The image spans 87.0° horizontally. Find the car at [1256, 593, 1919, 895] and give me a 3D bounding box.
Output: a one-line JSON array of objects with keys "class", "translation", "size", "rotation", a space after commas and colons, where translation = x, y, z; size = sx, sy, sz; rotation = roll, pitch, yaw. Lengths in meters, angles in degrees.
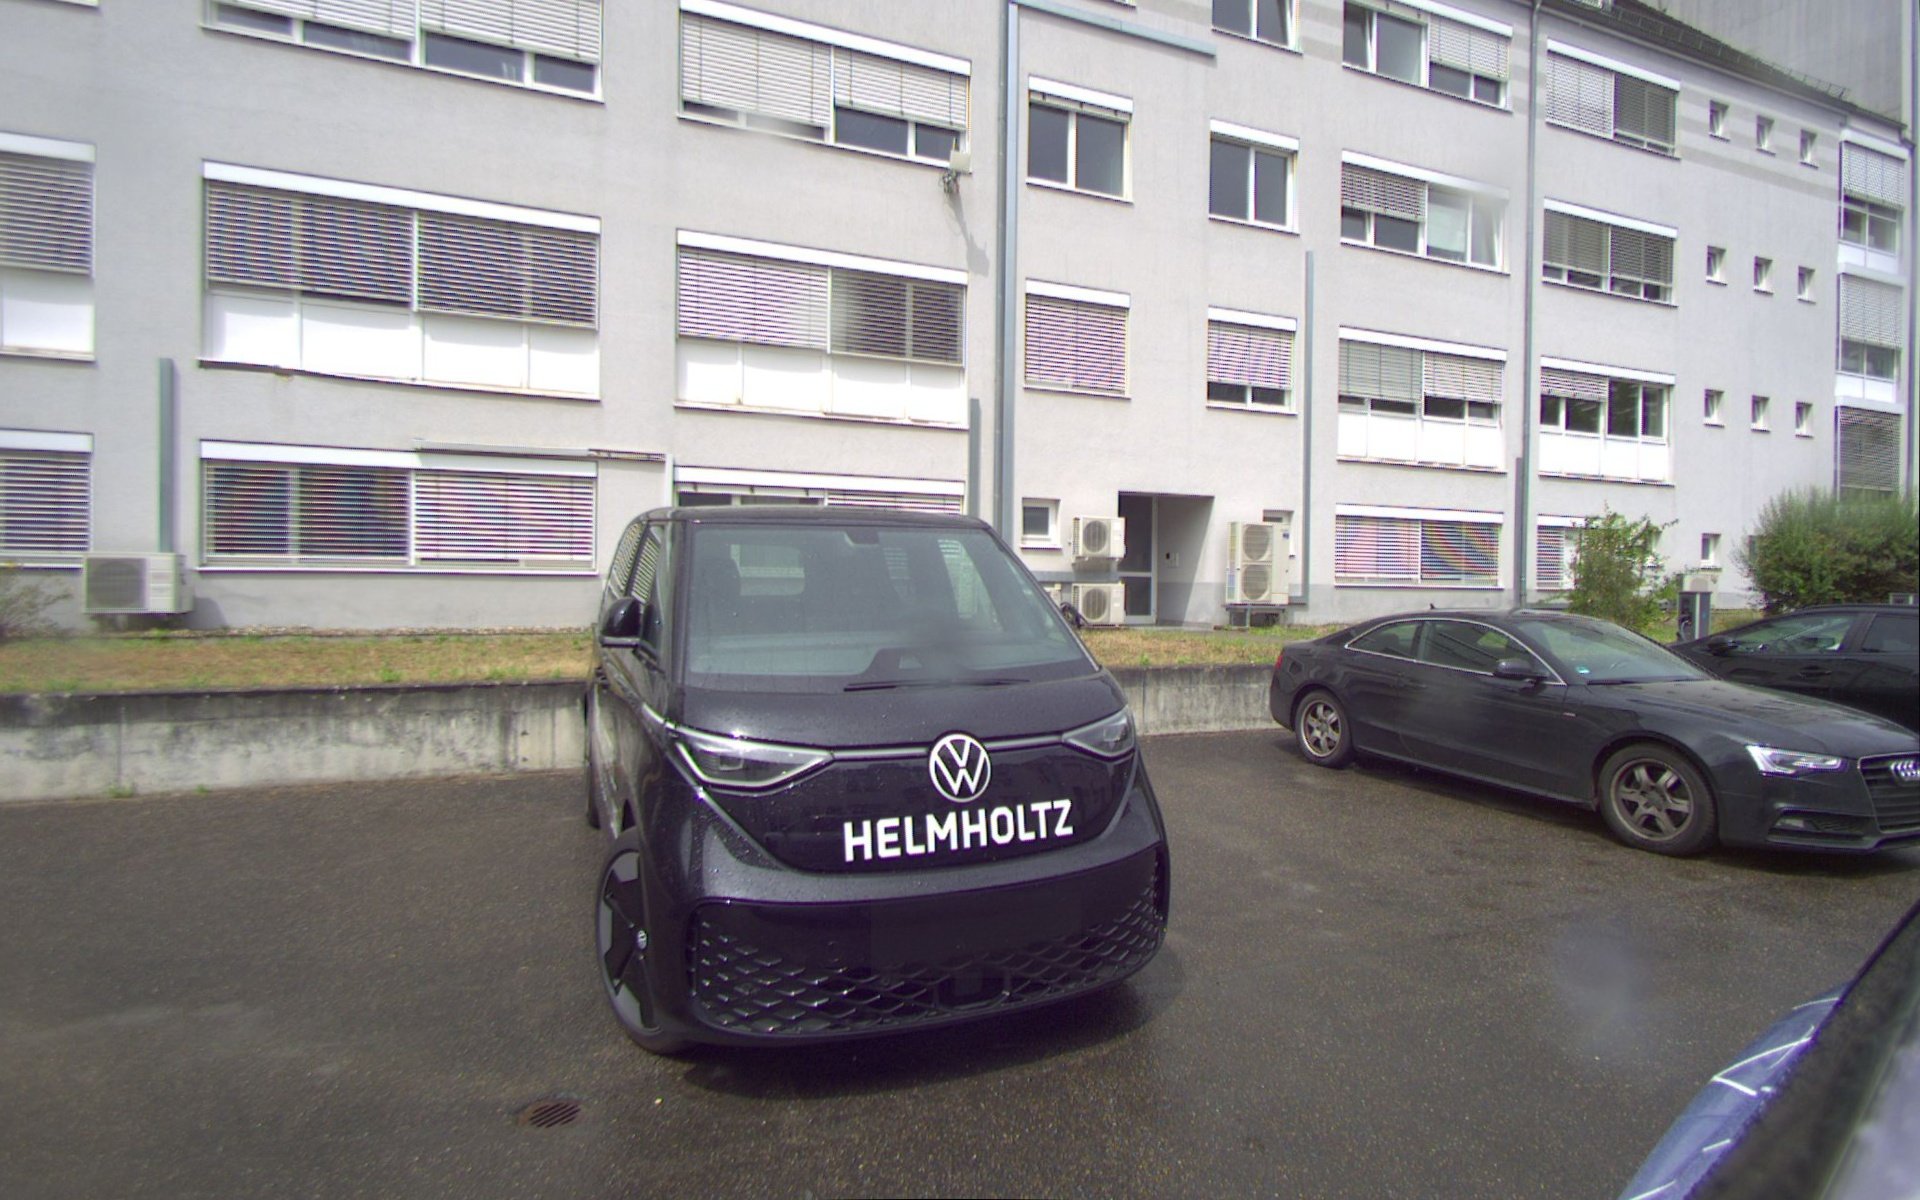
[{"class": "car", "translation": [4.361, 0.714, 7.388], "size": [1.821, 1.365, 4.377], "rotation": [1, 2, -23]}]

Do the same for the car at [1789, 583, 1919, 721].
[{"class": "car", "translation": [11.599, 0.627, 10.605], "size": [1.794, 1.473, 4.121], "rotation": [0, 2, -21]}]

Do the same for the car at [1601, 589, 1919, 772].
[{"class": "car", "translation": [8.551, 0.677, 9.245], "size": [1.899, 1.418, 4.193], "rotation": [0, 2, -23]}]

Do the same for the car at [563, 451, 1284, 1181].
[{"class": "car", "translation": [-0.825, 0.451, 5.142], "size": [2.066, 1.855, 4.736], "rotation": [1, 2, -23]}]
